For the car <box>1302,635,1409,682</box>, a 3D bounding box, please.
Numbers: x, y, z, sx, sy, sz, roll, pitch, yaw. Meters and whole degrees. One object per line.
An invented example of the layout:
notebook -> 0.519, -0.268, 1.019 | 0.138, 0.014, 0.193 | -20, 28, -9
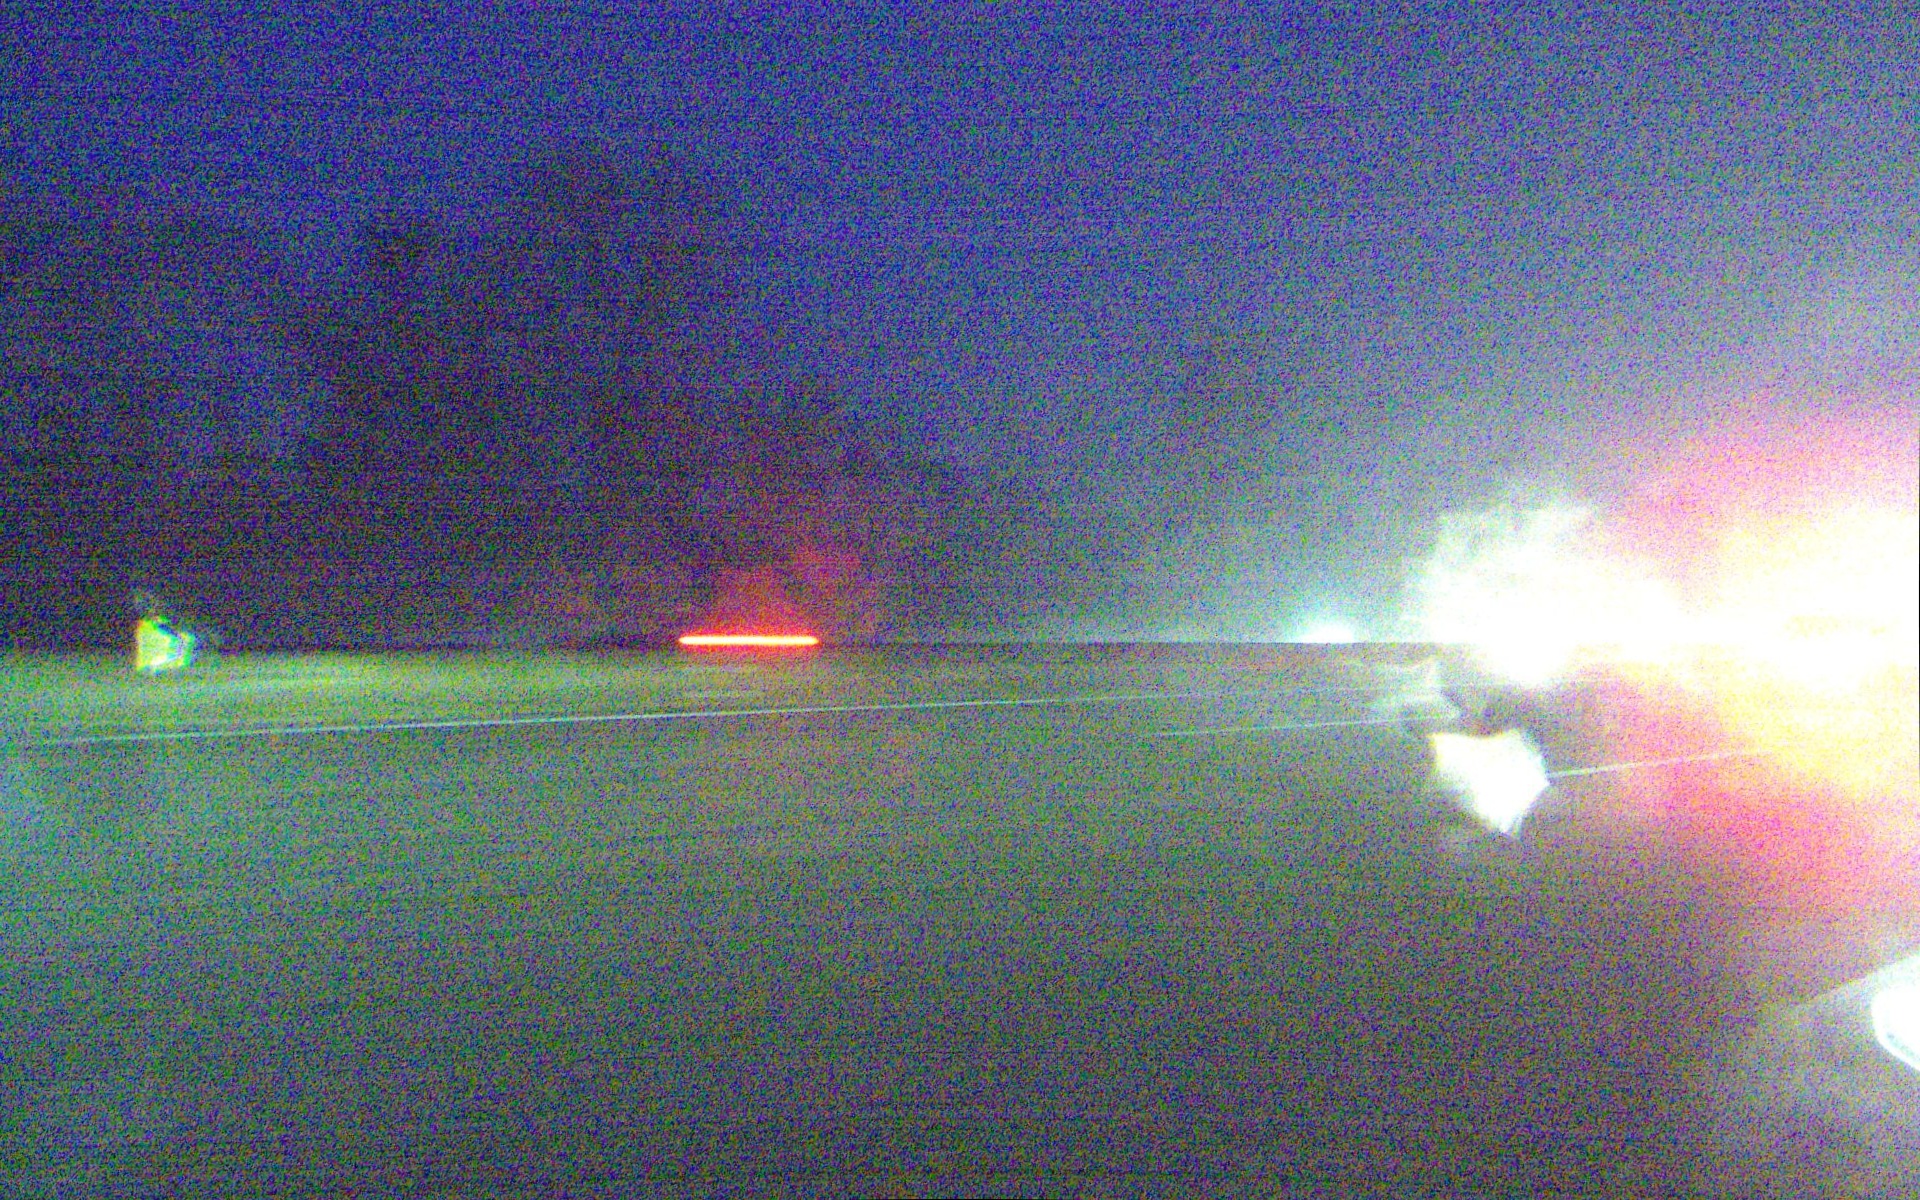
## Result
car -> 16.403, 2.397, 41.594 | 4.515, 1.744, 1.869 | 2, 0, -33

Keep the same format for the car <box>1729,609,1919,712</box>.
car -> 15.865, 1.042, 18.289 | 3.964, 1.617, 1.979 | 2, 0, -37
